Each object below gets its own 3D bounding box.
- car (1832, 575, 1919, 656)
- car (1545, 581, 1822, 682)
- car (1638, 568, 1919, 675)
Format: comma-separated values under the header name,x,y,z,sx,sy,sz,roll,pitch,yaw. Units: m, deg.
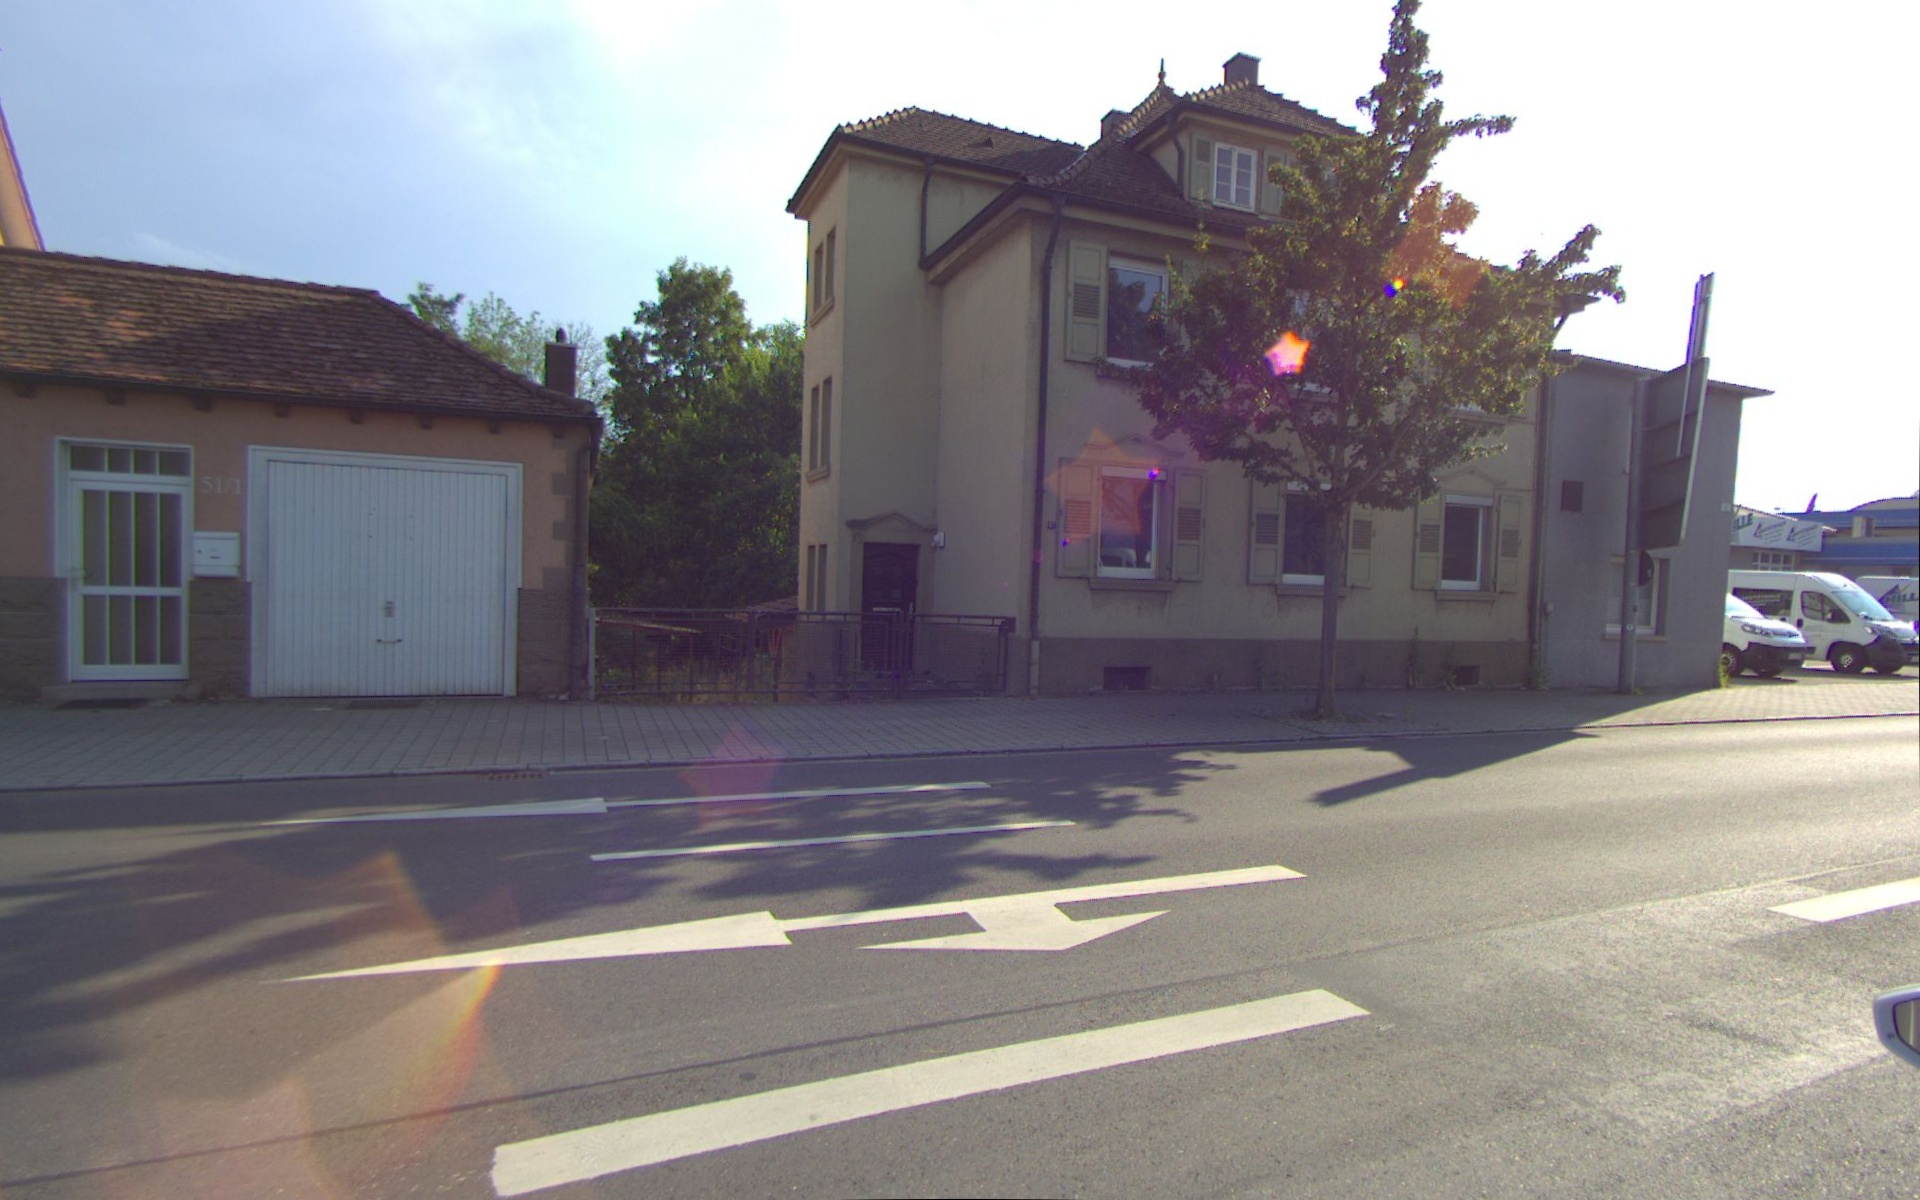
name,x,y,z,sx,sy,sz,roll,pitch,yaw
car,30.874,0.536,30.568,2.221,2.477,6.133,1,2,-28
car,16.853,0.644,23.757,1.909,2.026,4.960,1,2,-25
car,21.883,0.427,26.903,2.163,2.513,5.904,1,2,-24
